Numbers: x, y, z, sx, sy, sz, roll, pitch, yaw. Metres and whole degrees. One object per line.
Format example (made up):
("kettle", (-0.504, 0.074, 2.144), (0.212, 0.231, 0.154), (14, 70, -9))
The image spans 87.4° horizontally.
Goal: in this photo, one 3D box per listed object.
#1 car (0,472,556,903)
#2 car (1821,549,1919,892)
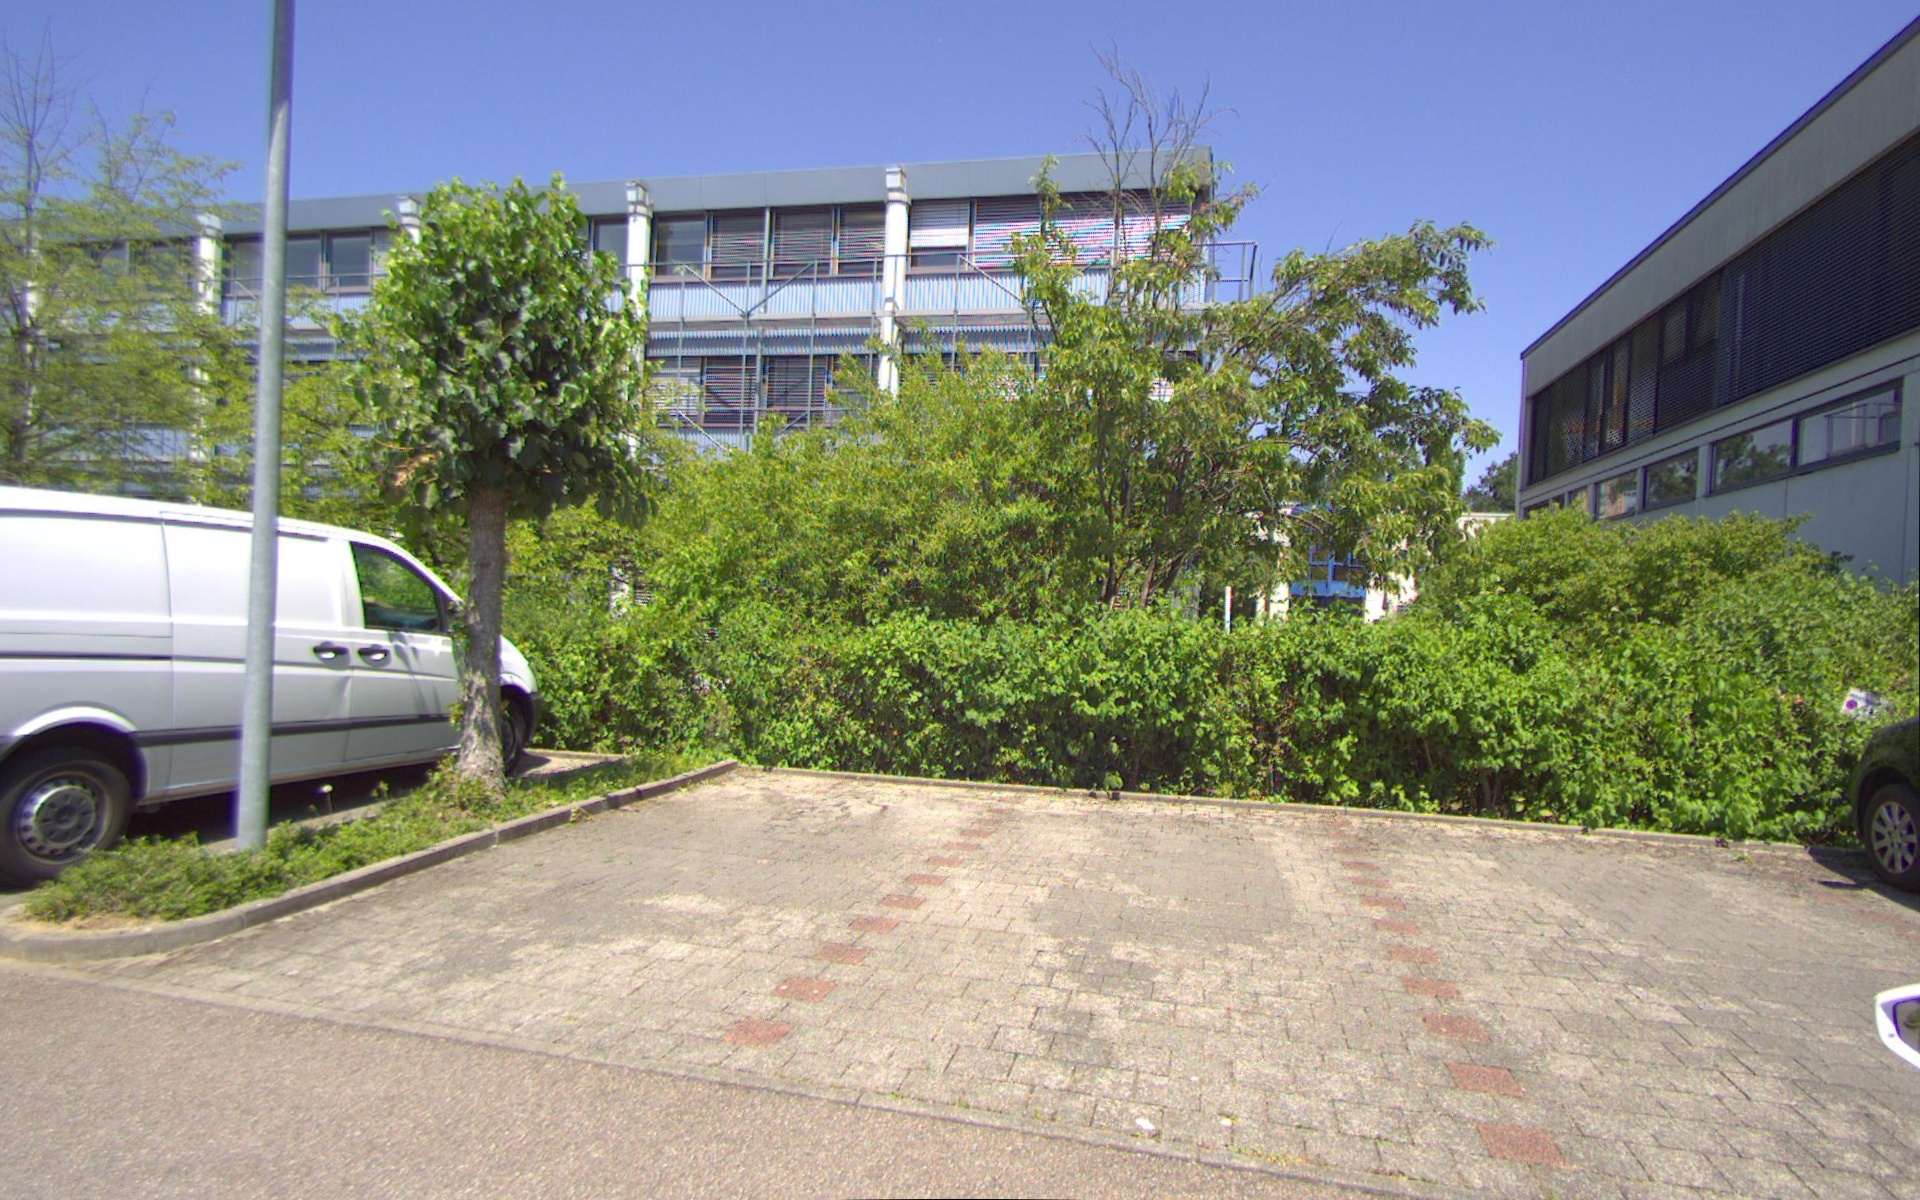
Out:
("car", (-4.808, 0.391, 6.319), (1.792, 1.931, 4.738), (2, 0, 13))
("car", (5.878, 0.676, 4.315), (1.645, 1.909, 4.073), (2, 0, 15))
